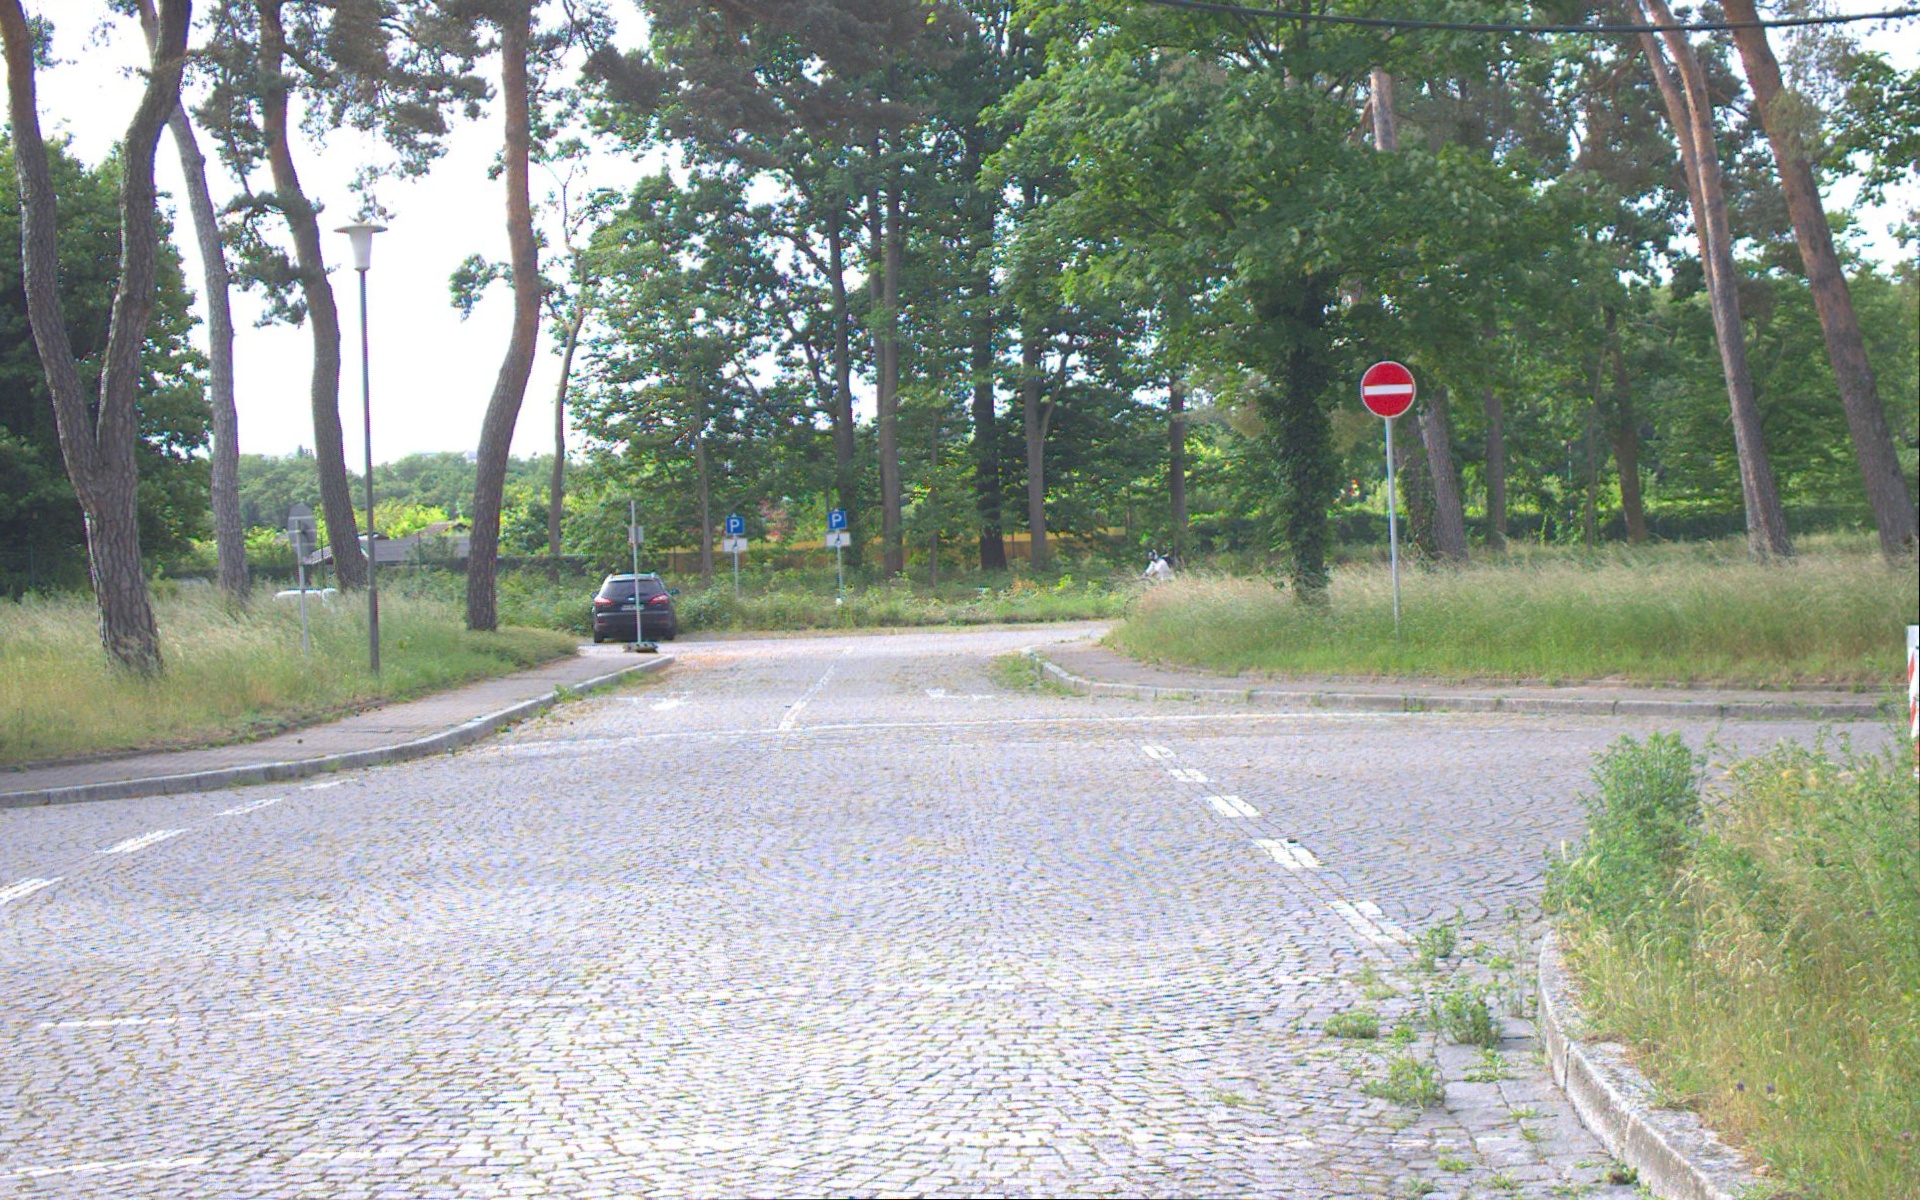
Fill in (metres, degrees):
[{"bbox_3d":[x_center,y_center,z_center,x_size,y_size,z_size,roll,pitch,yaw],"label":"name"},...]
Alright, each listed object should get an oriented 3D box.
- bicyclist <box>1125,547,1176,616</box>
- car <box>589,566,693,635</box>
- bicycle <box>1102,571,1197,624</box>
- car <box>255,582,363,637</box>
[{"bbox_3d":[4.233,-0.415,76.426,0.974,1.505,0.807,-2,1,-4],"label":"bicyclist"},{"bbox_3d":[-7.256,-0.001,78.491,1.993,1.503,4.000,0,1,0],"label":"car"},{"bbox_3d":[4.212,-0.067,76.435,1.986,1.091,0.810,-2,1,-4],"label":"bicycle"},{"bbox_3d":[-14.990,0.206,79.351,1.689,1.152,4.000,-2,1,0],"label":"car"}]
